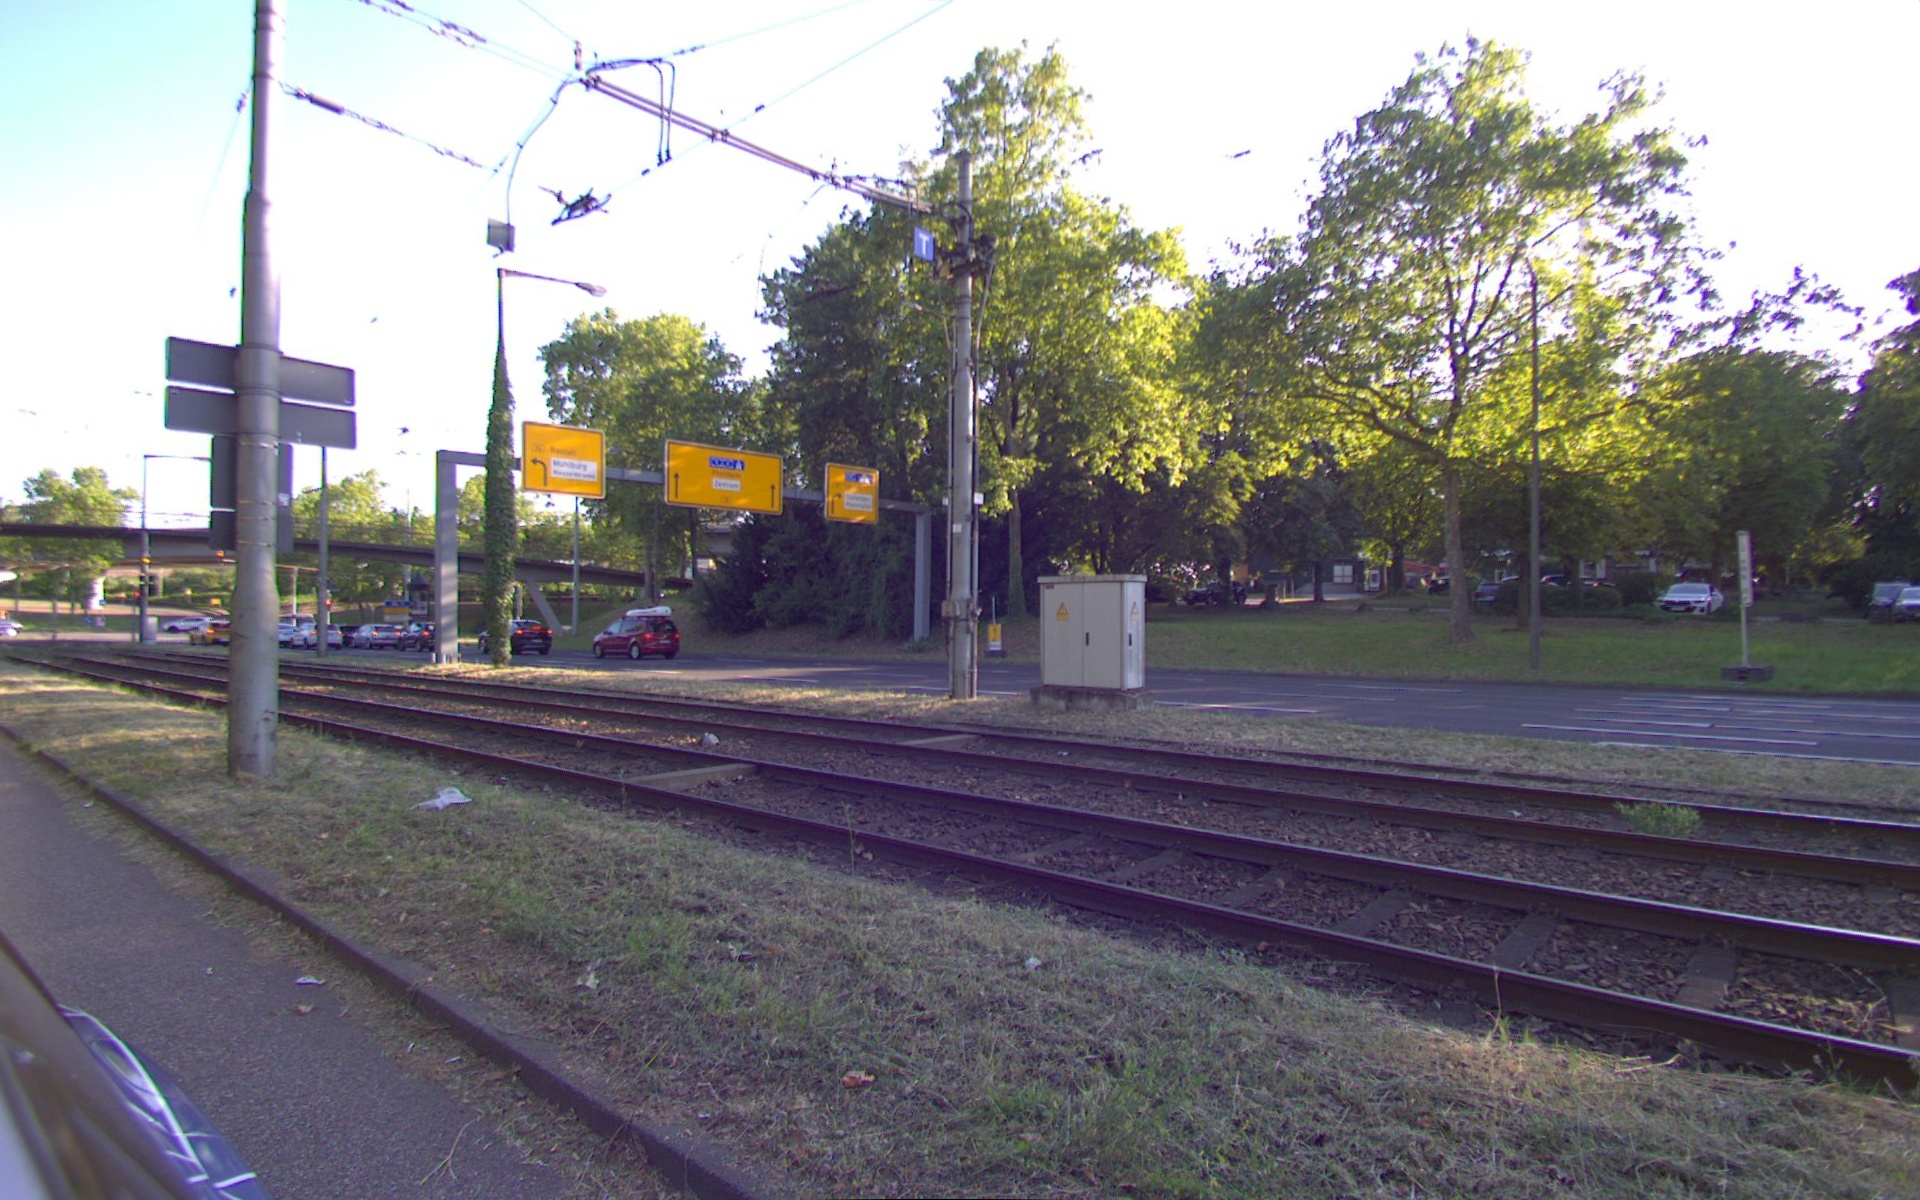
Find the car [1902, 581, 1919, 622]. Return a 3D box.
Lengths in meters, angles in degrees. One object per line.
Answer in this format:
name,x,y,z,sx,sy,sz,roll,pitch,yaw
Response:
car,37.586,0.033,38.894,1.942,1.521,4.039,0,0,44

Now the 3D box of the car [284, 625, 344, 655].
car,-35.735,2.198,55.958,3.997,1.556,1.744,-1,-1,40

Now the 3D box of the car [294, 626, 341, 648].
car,-44.268,2.499,69.677,1.891,1.435,4.229,0,-1,-44

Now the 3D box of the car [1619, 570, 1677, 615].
car,36.891,-0.404,54.240,2.161,2.320,4.348,0,0,40

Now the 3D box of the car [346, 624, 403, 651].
car,-34.957,2.233,60.416,3.998,1.556,1.789,-1,-1,41

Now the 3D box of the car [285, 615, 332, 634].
car,-63.471,2.343,98.702,3.748,1.740,1.682,-1,0,-29

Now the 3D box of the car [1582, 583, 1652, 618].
car,30.040,0.003,46.221,1.942,1.521,4.039,0,0,44

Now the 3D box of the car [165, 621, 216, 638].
car,-73.296,2.825,96.421,3.728,1.510,1.769,-1,0,-32

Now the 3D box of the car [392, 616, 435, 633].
car,-55.113,2.449,102.043,3.747,1.591,1.683,-1,0,-26

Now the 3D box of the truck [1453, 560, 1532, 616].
truck,31.749,-0.693,60.286,2.503,3.191,6.137,0,0,45

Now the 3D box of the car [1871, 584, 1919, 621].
car,43.974,0.092,47.227,3.998,1.628,1.864,-1,0,-43

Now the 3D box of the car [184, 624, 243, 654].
car,-40.799,2.116,55.258,3.997,1.556,1.744,-1,-1,40

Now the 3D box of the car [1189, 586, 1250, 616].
car,15.401,0.057,59.958,1.791,1.657,3.942,-1,-1,44

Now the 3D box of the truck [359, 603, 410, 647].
truck,-40.297,1.733,70.770,2.248,2.901,6.895,0,-1,-37

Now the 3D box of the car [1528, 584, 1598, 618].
car,28.431,0.012,47.658,1.942,1.521,4.039,0,0,44

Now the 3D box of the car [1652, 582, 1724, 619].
car,31.567,-0.001,43.845,1.942,1.521,4.039,0,0,44

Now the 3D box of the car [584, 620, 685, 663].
car,-13.065,1.640,40.509,4.308,1.647,1.818,-1,-2,40

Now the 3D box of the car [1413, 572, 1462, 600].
car,33.562,-0.999,71.062,2.290,1.864,5.214,-1,1,34

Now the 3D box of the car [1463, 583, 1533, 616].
car,26.175,-0.048,49.187,1.942,1.521,4.039,0,0,44

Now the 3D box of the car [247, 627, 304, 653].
car,-40.568,2.343,59.957,4.226,1.435,1.893,-1,-1,42

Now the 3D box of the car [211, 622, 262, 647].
car,-45.832,2.175,64.047,4.228,1.561,1.892,-1,-2,44

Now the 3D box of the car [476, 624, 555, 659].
car,-20.621,1.882,46.868,4.332,1.556,1.713,-1,-2,41

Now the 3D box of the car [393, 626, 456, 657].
car,-28.488,2.194,53.802,3.971,1.569,1.733,-2,-3,42

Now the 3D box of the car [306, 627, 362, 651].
car,-39.757,2.443,64.231,4.224,1.435,1.844,-1,-1,40

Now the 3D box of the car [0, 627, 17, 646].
car,-77.040,2.923,79.654,1.746,1.510,3.777,-1,0,13
